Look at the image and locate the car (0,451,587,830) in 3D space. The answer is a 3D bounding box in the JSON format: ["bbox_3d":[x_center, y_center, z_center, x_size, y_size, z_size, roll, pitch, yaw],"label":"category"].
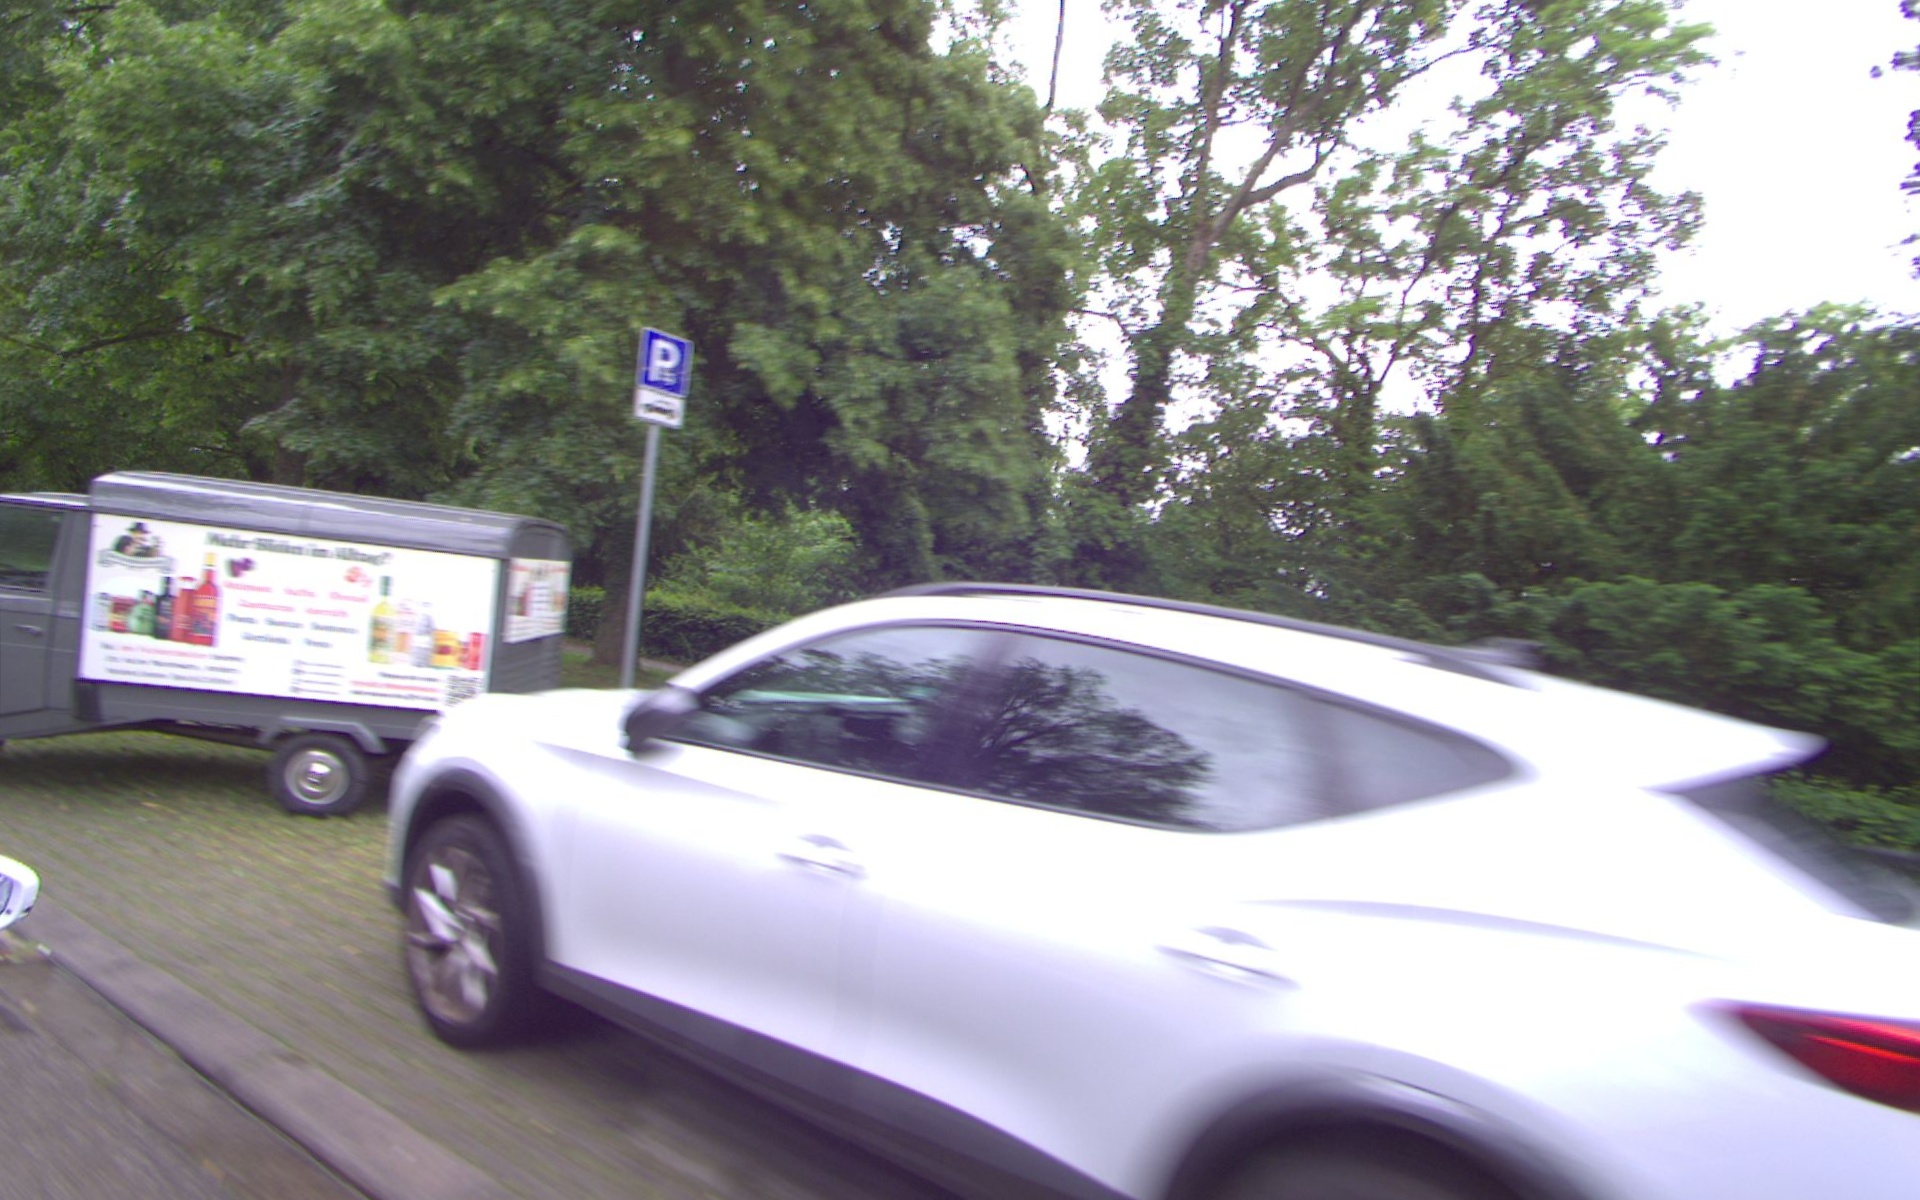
[{"bbox_3d":[-4.393,0.161,5.683,3.938,1.702,1.608,5,1,-10],"label":"car"}]

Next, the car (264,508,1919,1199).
[{"bbox_3d":[0.018,0.719,3.122,4.493,1.516,1.994,7,0,34],"label":"car"}]
